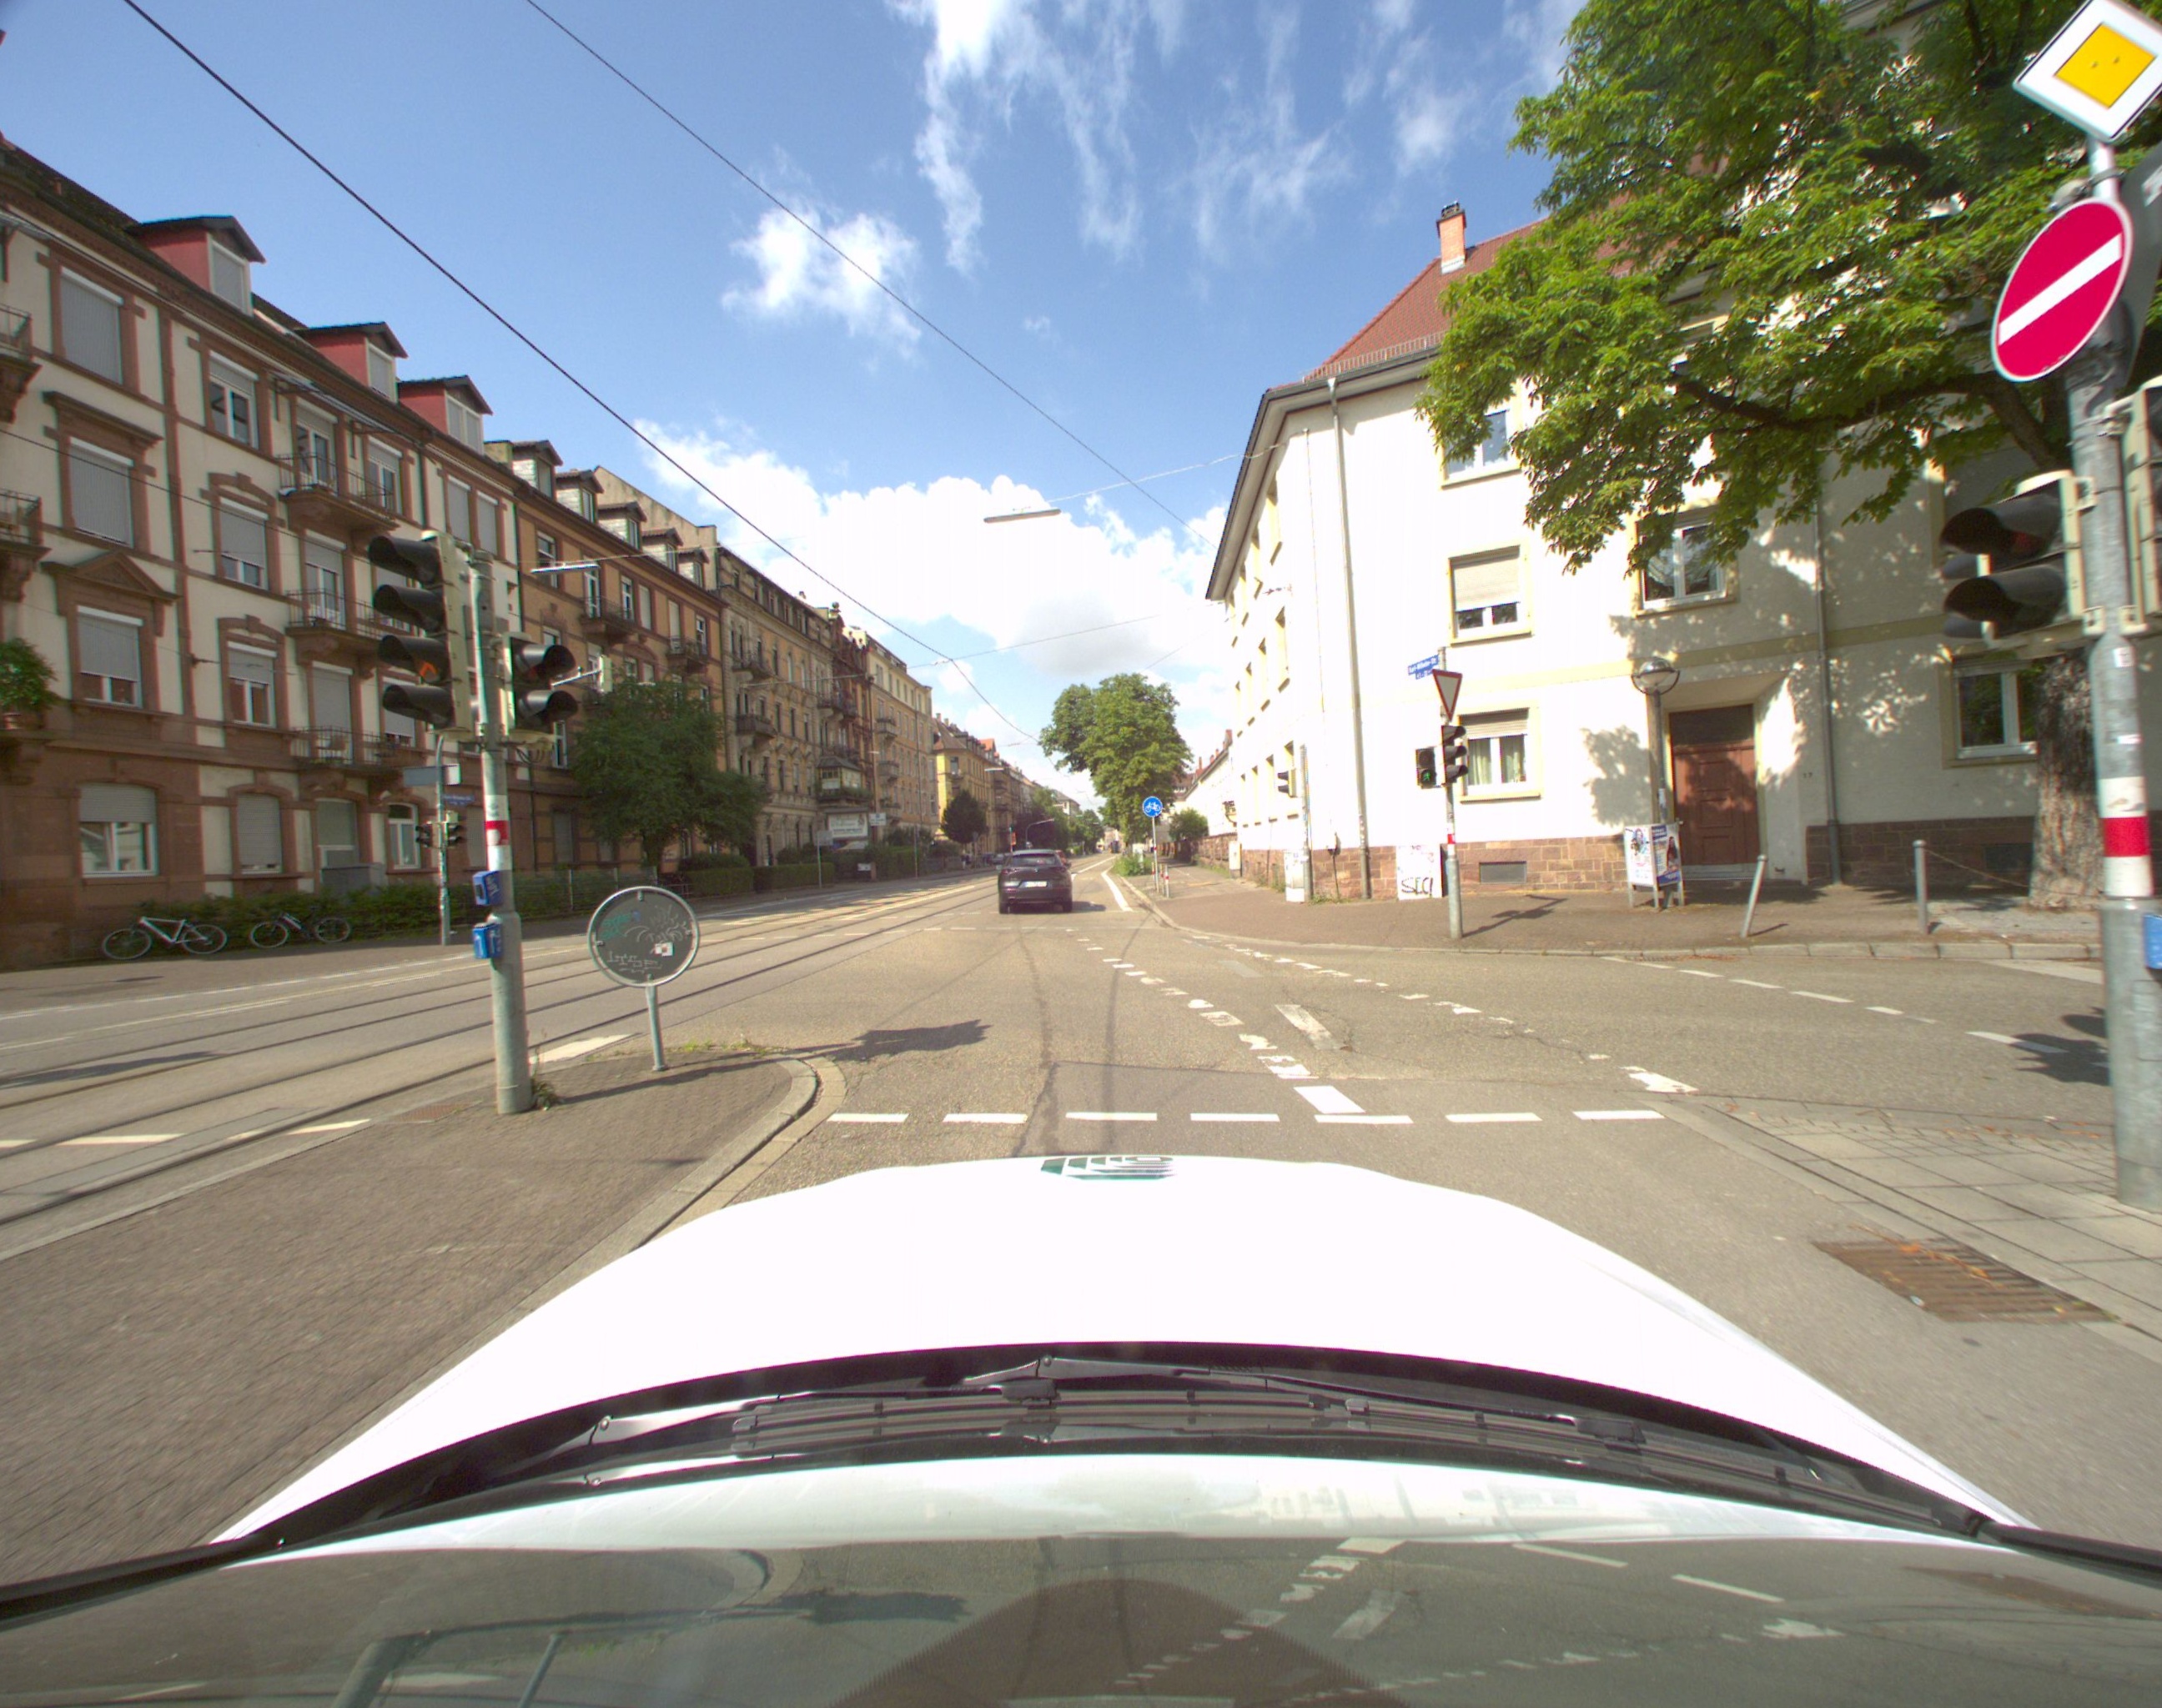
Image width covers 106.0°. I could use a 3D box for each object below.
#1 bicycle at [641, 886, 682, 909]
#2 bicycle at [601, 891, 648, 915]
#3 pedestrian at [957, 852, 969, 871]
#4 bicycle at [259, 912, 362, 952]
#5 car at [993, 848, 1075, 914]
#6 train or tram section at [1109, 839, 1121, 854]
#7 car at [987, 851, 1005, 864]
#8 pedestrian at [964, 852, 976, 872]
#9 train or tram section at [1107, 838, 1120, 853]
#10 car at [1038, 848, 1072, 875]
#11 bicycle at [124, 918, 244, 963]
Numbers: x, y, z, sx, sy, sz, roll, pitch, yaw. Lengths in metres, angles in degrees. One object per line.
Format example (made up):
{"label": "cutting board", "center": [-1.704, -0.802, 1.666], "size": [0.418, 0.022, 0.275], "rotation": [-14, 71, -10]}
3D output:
{"label": "bicycle", "center": [-15.313, 1.579, 29.751], "size": [0.383, 0.677, 1.715], "rotation": [-3, 0, 8]}
{"label": "bicycle", "center": [-15.411, 1.652, 27.543], "size": [0.383, 0.653, 1.715], "rotation": [-3, 0, 8]}
{"label": "pedestrian", "center": [-10.665, 0.667, 73.717], "size": [0.784, 1.688, 0.733], "rotation": [-3, 0, 5]}
{"label": "bicycle", "center": [-18.272, 1.835, 19.344], "size": [0.381, 0.747, 1.722], "rotation": [-3, 1, 40]}
{"label": "car", "center": [-1.303, 0.625, 21.036], "size": [1.781, 1.514, 3.989], "rotation": [-1, 0, -8]}
{"label": "train or tram section", "center": [10.126, -2.179, 240.575], "size": [2.984, 3.983, 13.823], "rotation": [-3, 0, 4]}
{"label": "car", "center": [-11.382, 0.406, 108.831], "size": [1.650, 1.596, 3.933], "rotation": [-3, 0, 3]}
{"label": "pedestrian", "center": [-9.781, 0.725, 71.523], "size": [0.784, 1.688, 0.733], "rotation": [-3, 0, 5]}
{"label": "train or tram section", "center": [9.135, -2.312, 226.832], "size": [2.984, 3.983, 13.823], "rotation": [-3, 0, 4]}
{"label": "car", "center": [-1.544, 0.417, 49.102], "size": [1.769, 1.464, 3.844], "rotation": [-2, 1, 1]}
{"label": "bicycle", "center": [-19.546, 1.866, 17.781], "size": [0.381, 0.747, 1.722], "rotation": [-3, 1, 40]}
